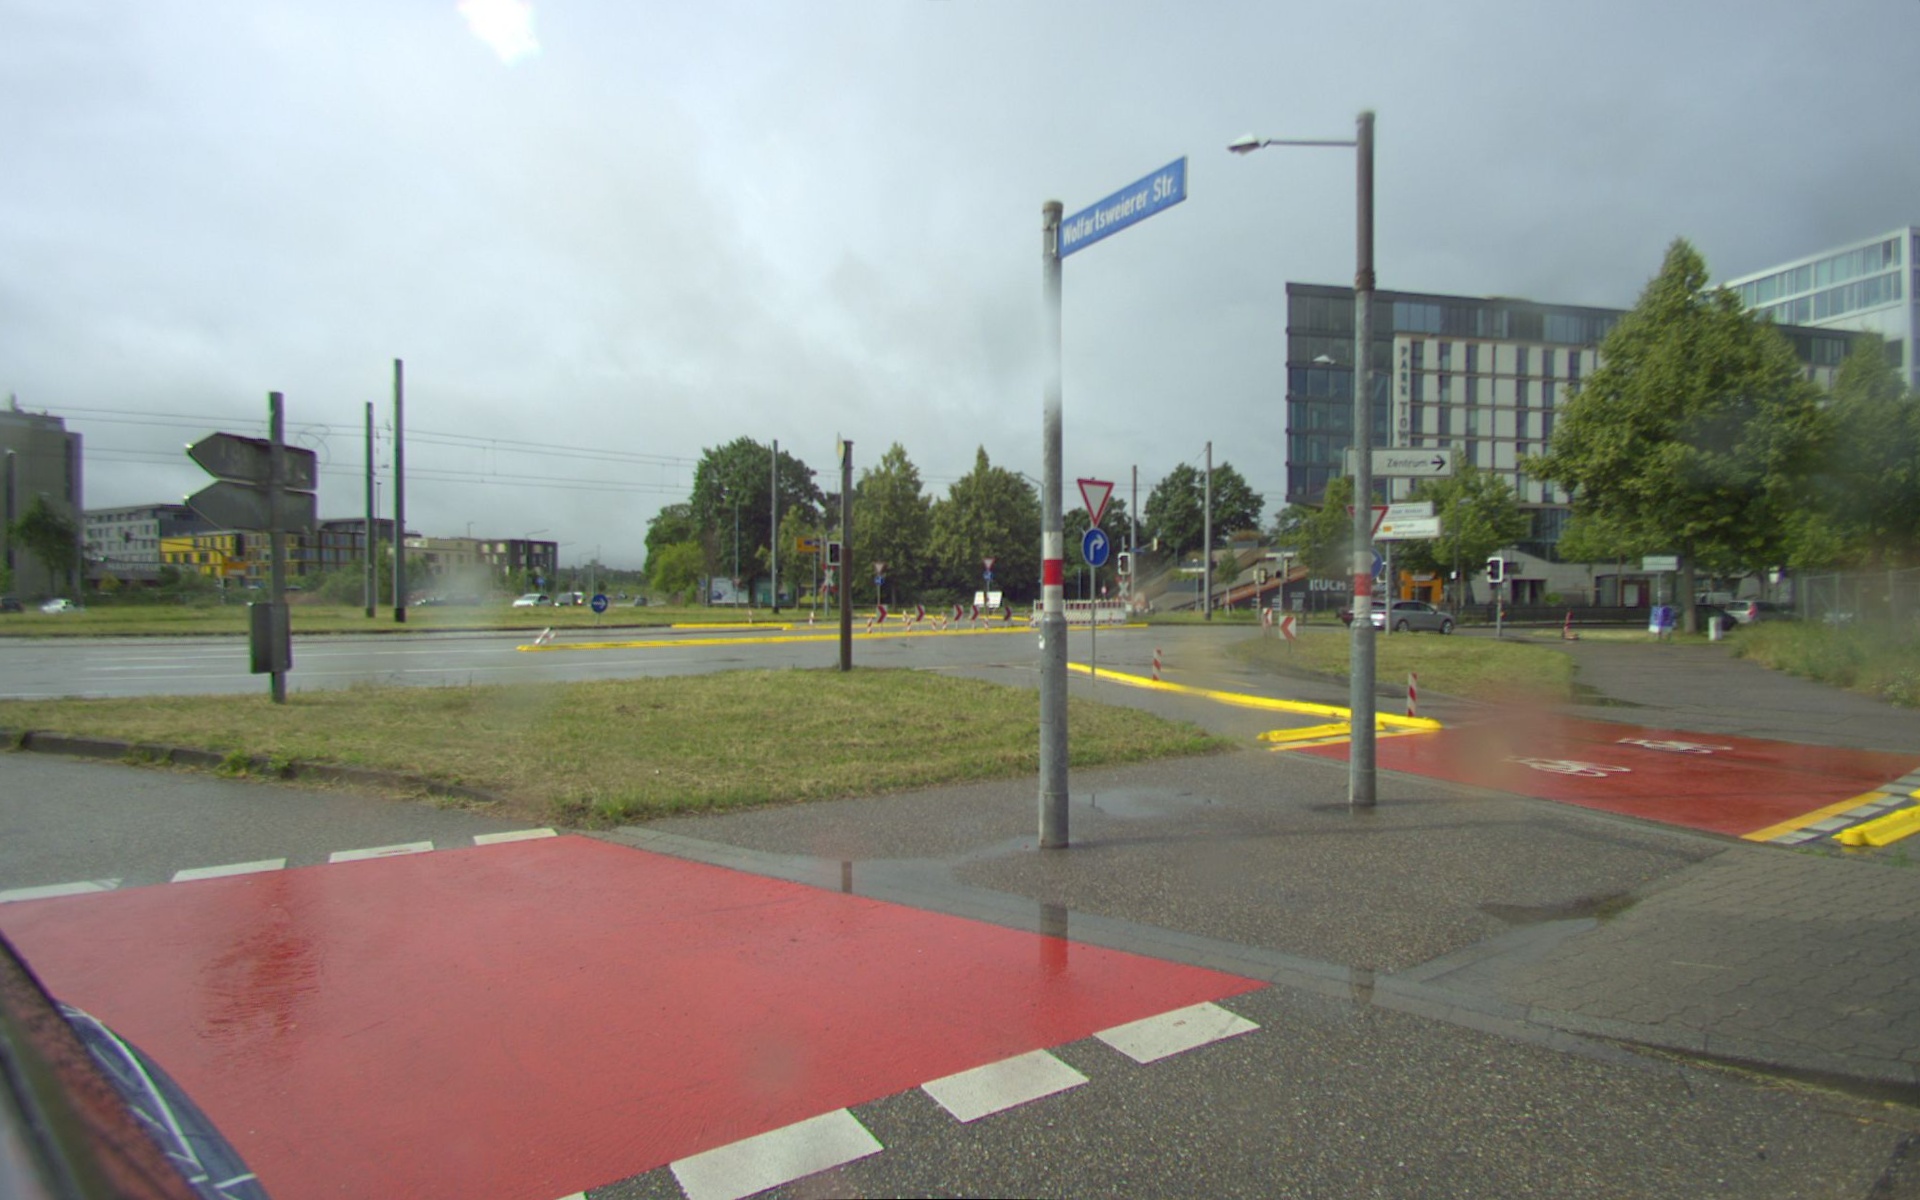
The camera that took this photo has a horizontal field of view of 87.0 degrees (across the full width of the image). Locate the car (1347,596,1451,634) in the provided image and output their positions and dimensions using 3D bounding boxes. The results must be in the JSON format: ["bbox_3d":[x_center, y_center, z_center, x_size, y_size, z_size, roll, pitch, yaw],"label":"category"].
[{"bbox_3d":[17.448,0.557,40.323,1.713,1.425,3.553,-1,1,-25],"label":"car"}]

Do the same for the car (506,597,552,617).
[{"bbox_3d":[-34.395,0.569,80.873,1.649,1.541,4.111,-1,0,6],"label":"car"}]

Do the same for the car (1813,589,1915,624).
[{"bbox_3d":[44.145,0.303,49.450,3.708,1.630,1.833,-1,0,-12],"label":"car"}]

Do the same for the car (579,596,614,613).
[{"bbox_3d":[-33.061,0.380,92.051,1.649,1.541,3.474,-1,0,6],"label":"car"}]

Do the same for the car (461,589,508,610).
[{"bbox_3d":[-35.856,-0.044,76.368,1.649,1.541,3.474,-1,0,6],"label":"car"}]

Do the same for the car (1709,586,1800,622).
[{"bbox_3d":[40.634,0.215,51.783,3.547,1.763,1.772,-1,0,-12],"label":"car"}]
